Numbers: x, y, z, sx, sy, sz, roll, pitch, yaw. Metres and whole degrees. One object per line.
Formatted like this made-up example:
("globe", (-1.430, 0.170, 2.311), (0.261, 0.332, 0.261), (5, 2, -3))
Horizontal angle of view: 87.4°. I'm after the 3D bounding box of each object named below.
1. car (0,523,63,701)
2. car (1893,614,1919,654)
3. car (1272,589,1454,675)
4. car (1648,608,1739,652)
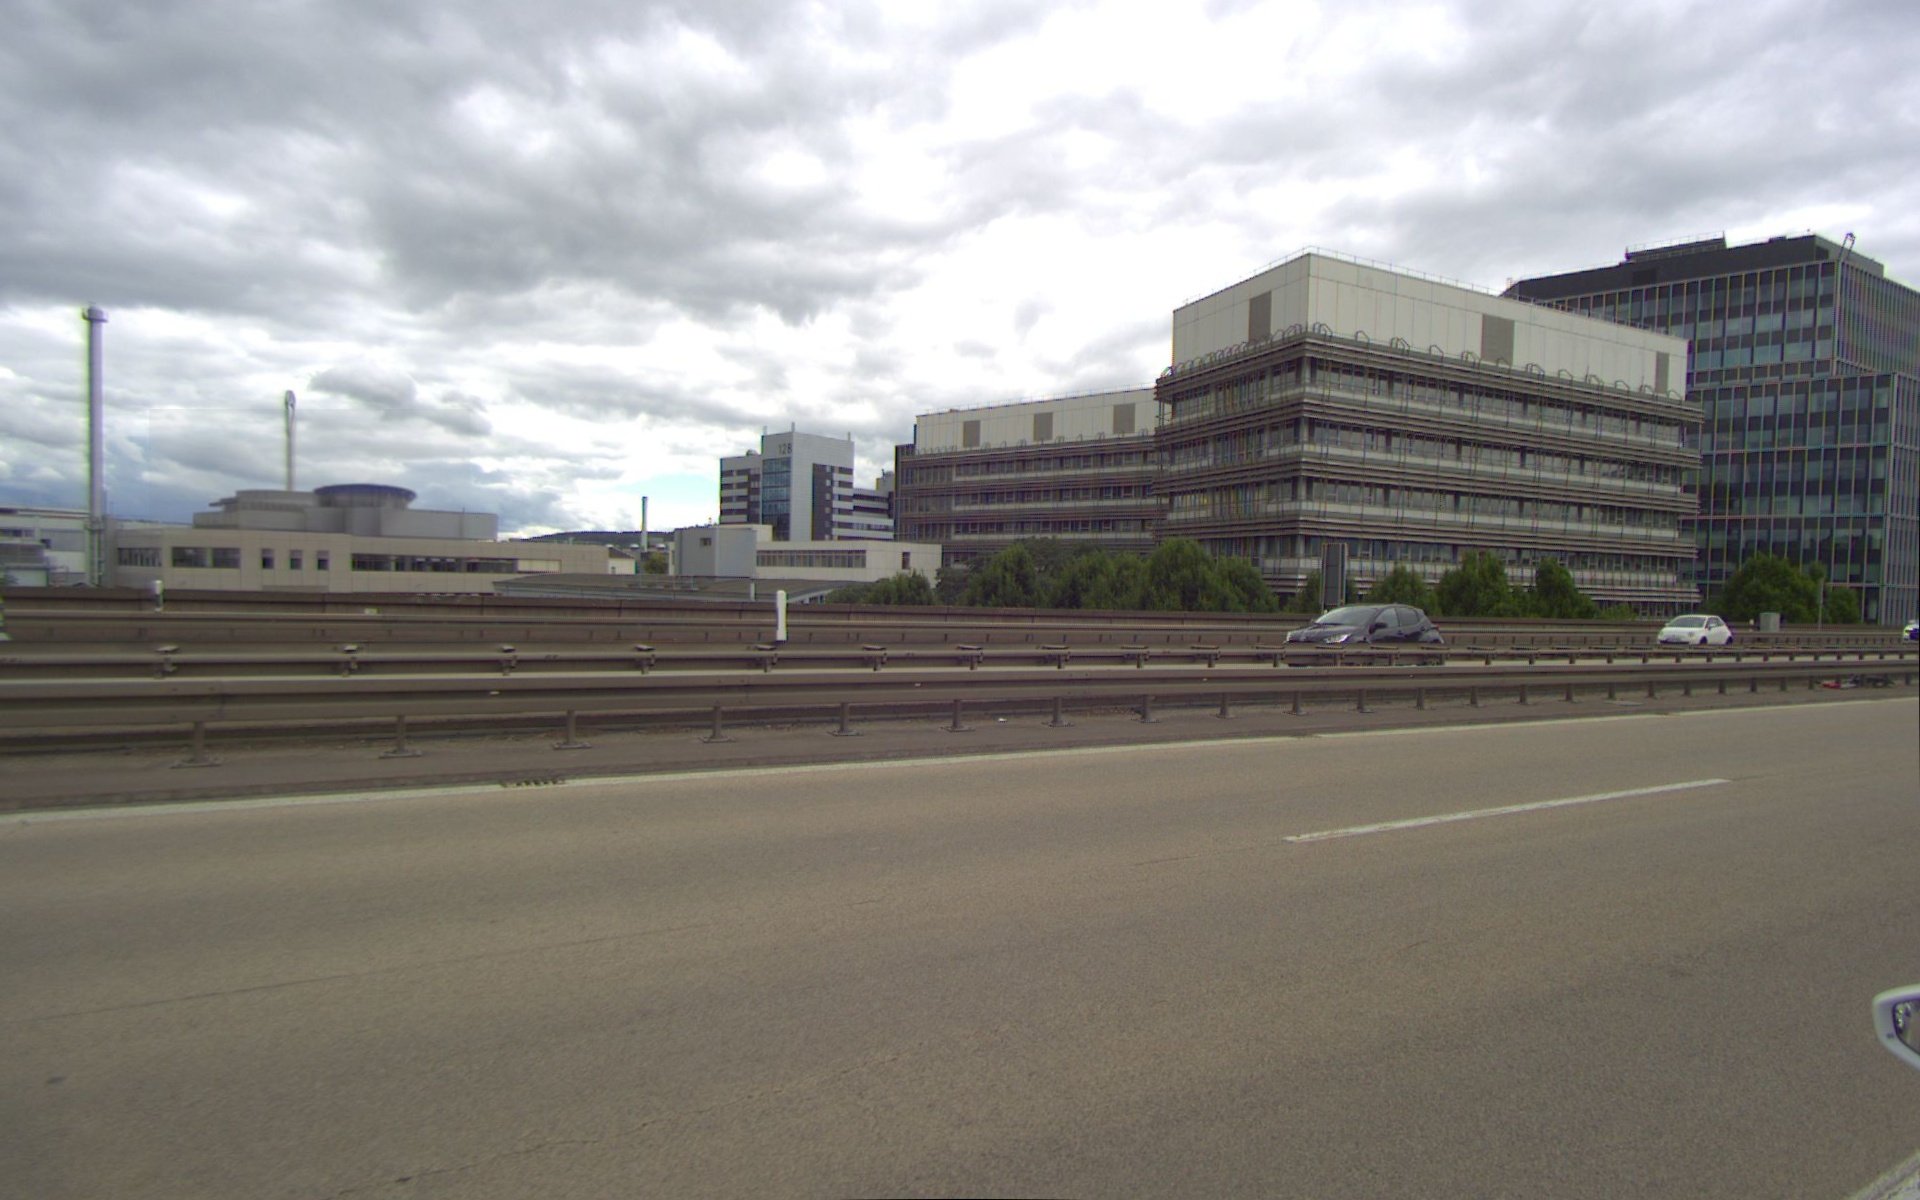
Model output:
("car", (-11.113, 0.017, 8.759), (4.554, 1.616, 1.916), (2, 1, -30))
("car", (44.669, 1.597, 46.038), (3.731, 1.743, 1.778), (2, 1, -30))
("car", (8.711, 0.688, 21.654), (3.731, 1.672, 1.675), (2, 1, -30))
("car", (30.604, 1.254, 41.899), (3.731, 1.672, 1.675), (2, 1, -30))
